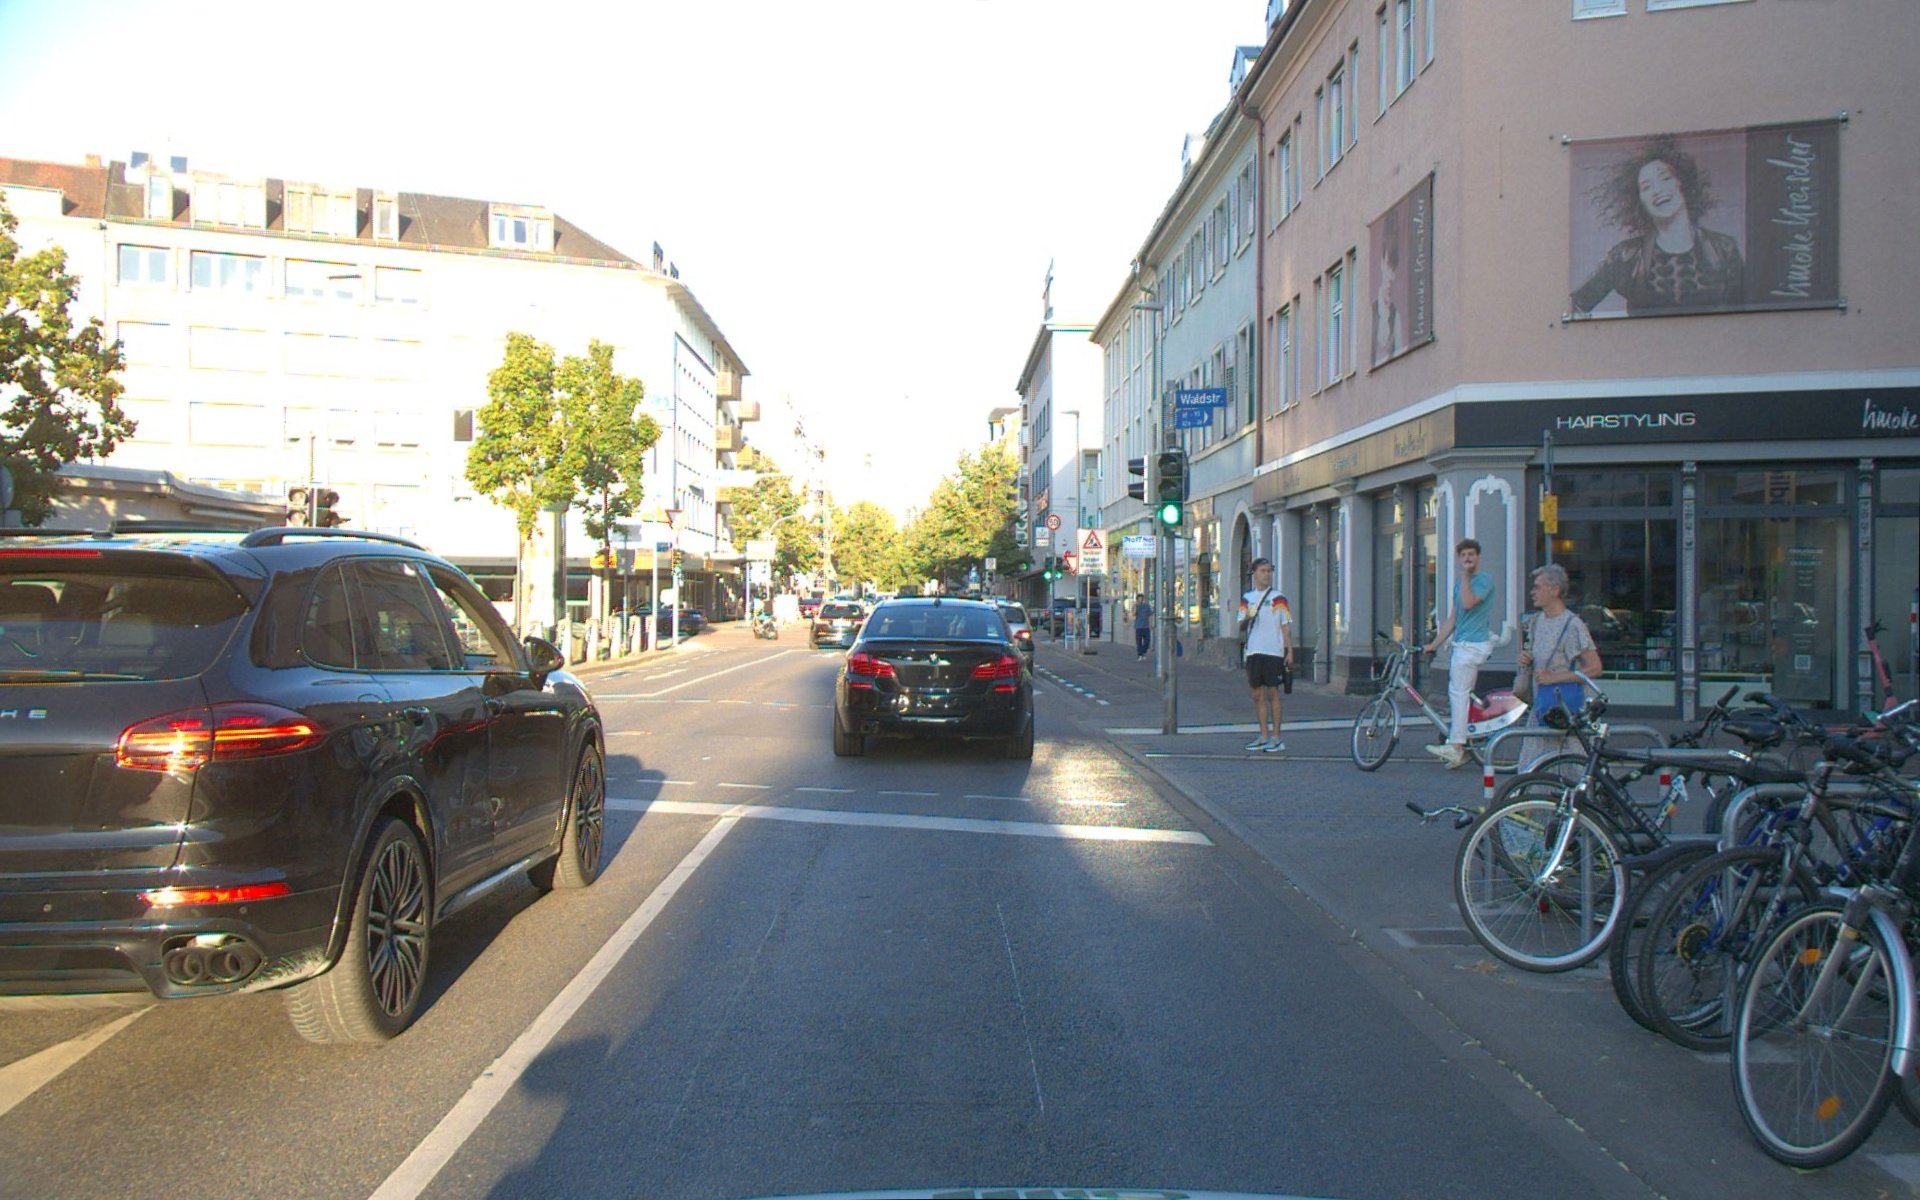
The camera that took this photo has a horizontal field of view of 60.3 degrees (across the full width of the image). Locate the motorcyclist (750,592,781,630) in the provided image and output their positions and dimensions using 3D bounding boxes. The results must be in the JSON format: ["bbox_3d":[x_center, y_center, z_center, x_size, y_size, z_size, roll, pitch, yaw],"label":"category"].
[{"bbox_3d":[-7.095,0.394,60.249,0.759,1.343,0.982,1,0,-35],"label":"motorcyclist"}]

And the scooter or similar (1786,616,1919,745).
[{"bbox_3d":[8.898,0.782,16.393,1.228,1.235,0.467,0,0,22],"label":"scooter or similar"}]

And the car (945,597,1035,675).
[{"bbox_3d":[0.609,0.747,36.636,1.795,1.603,4.099,1,0,-2],"label":"car"}]

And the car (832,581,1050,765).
[{"bbox_3d":[-0.242,0.621,16.451,1.865,1.567,4.448,1,0,-2],"label":"car"}]

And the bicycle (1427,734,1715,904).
[{"bbox_3d":[3.057,1.076,8.375,0.986,0.693,1.048,0,0,-10],"label":"bicycle"}]

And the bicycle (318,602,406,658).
[{"bbox_3d":[-13.852,0.697,38.344,1.815,1.278,0.633,0,0,0],"label":"bicycle"}]

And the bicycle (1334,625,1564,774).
[{"bbox_3d":[4.125,0.825,14.085,1.781,1.207,0.794,0,0,8],"label":"bicycle"}]

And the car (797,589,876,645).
[{"bbox_3d":[-3.829,0.501,50.741,1.839,1.623,4.436,1,0,-12],"label":"car"}]

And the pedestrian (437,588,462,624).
[{"bbox_3d":[-22.678,0.270,73.402,0.934,1.564,0.901,0,0,-26],"label":"pedestrian"}]

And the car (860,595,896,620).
[{"bbox_3d":[-5.030,0.451,101.410,1.955,1.467,3.994,0,0,-7],"label":"car"}]

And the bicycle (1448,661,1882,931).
[{"bbox_3d":[3.240,0.863,7.652,1.751,1.082,0.717,-1,0,-12],"label":"bicycle"}]

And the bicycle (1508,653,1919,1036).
[{"bbox_3d":[2.938,0.825,5.962,1.751,1.193,0.620,-1,0,-12],"label":"bicycle"}]

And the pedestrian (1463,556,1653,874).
[{"bbox_3d":[3.370,0.609,9.316,0.778,1.682,0.775,0,0,42],"label":"pedestrian"}]

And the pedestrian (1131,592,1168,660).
[{"bbox_3d":[4.746,0.644,41.509,0.807,1.670,0.871,0,0,-3],"label":"pedestrian"}]

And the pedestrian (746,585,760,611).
[{"bbox_3d":[-13.733,-0.161,109.708,0.807,1.706,0.871,1,0,-2],"label":"pedestrian"}]

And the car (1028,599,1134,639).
[{"bbox_3d":[4.963,0.785,68.237,3.919,1.579,2.088,1,0,-14],"label":"car"}]

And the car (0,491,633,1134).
[{"bbox_3d":[-2.761,0.567,6.775,1.909,1.744,4.561,0,0,0],"label":"car"}]

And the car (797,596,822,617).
[{"bbox_3d":[-11.179,0.460,122.765,1.701,1.487,3.994,1,0,-7],"label":"car"}]

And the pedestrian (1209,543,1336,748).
[{"bbox_3d":[3.050,0.432,16.179,0.927,1.931,0.818,0,0,-29],"label":"pedestrian"}]

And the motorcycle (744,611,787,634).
[{"bbox_3d":[-7.082,0.800,60.218,0.656,0.794,2.007,1,0,-36],"label":"motorcycle"}]

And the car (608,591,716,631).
[{"bbox_3d":[-11.892,0.436,65.925,3.915,1.512,1.995,1,0,32],"label":"car"}]

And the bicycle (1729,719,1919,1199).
[{"bbox_3d":[3.263,0.881,4.383,2.128,1.094,0.804,-1,0,-8],"label":"bicycle"}]

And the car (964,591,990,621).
[{"bbox_3d":[1.068,0.387,104.726,1.393,1.887,3.050,1,-1,-4],"label":"car"}]

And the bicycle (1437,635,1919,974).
[{"bbox_3d":[2.929,0.787,6.709,1.808,1.261,0.638,0,0,-6],"label":"bicycle"}]

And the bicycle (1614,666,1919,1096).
[{"bbox_3d":[3.078,0.834,5.332,1.751,1.193,0.620,-1,0,-12],"label":"bicycle"}]

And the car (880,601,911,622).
[{"bbox_3d":[-4.248,0.752,108.194,1.701,1.315,3.994,0,0,-7],"label":"car"}]

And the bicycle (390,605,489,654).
[{"bbox_3d":[-13.899,0.778,44.187,2.393,1.278,0.787,0,0,0],"label":"bicycle"}]

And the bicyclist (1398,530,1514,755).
[{"bbox_3d":[4.209,0.347,14.087,0.815,1.858,0.831,0,0,7],"label":"bicyclist"}]

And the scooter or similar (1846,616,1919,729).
[{"bbox_3d":[10.007,0.760,17.305,1.276,1.163,0.363,0,0,27],"label":"scooter or similar"}]
